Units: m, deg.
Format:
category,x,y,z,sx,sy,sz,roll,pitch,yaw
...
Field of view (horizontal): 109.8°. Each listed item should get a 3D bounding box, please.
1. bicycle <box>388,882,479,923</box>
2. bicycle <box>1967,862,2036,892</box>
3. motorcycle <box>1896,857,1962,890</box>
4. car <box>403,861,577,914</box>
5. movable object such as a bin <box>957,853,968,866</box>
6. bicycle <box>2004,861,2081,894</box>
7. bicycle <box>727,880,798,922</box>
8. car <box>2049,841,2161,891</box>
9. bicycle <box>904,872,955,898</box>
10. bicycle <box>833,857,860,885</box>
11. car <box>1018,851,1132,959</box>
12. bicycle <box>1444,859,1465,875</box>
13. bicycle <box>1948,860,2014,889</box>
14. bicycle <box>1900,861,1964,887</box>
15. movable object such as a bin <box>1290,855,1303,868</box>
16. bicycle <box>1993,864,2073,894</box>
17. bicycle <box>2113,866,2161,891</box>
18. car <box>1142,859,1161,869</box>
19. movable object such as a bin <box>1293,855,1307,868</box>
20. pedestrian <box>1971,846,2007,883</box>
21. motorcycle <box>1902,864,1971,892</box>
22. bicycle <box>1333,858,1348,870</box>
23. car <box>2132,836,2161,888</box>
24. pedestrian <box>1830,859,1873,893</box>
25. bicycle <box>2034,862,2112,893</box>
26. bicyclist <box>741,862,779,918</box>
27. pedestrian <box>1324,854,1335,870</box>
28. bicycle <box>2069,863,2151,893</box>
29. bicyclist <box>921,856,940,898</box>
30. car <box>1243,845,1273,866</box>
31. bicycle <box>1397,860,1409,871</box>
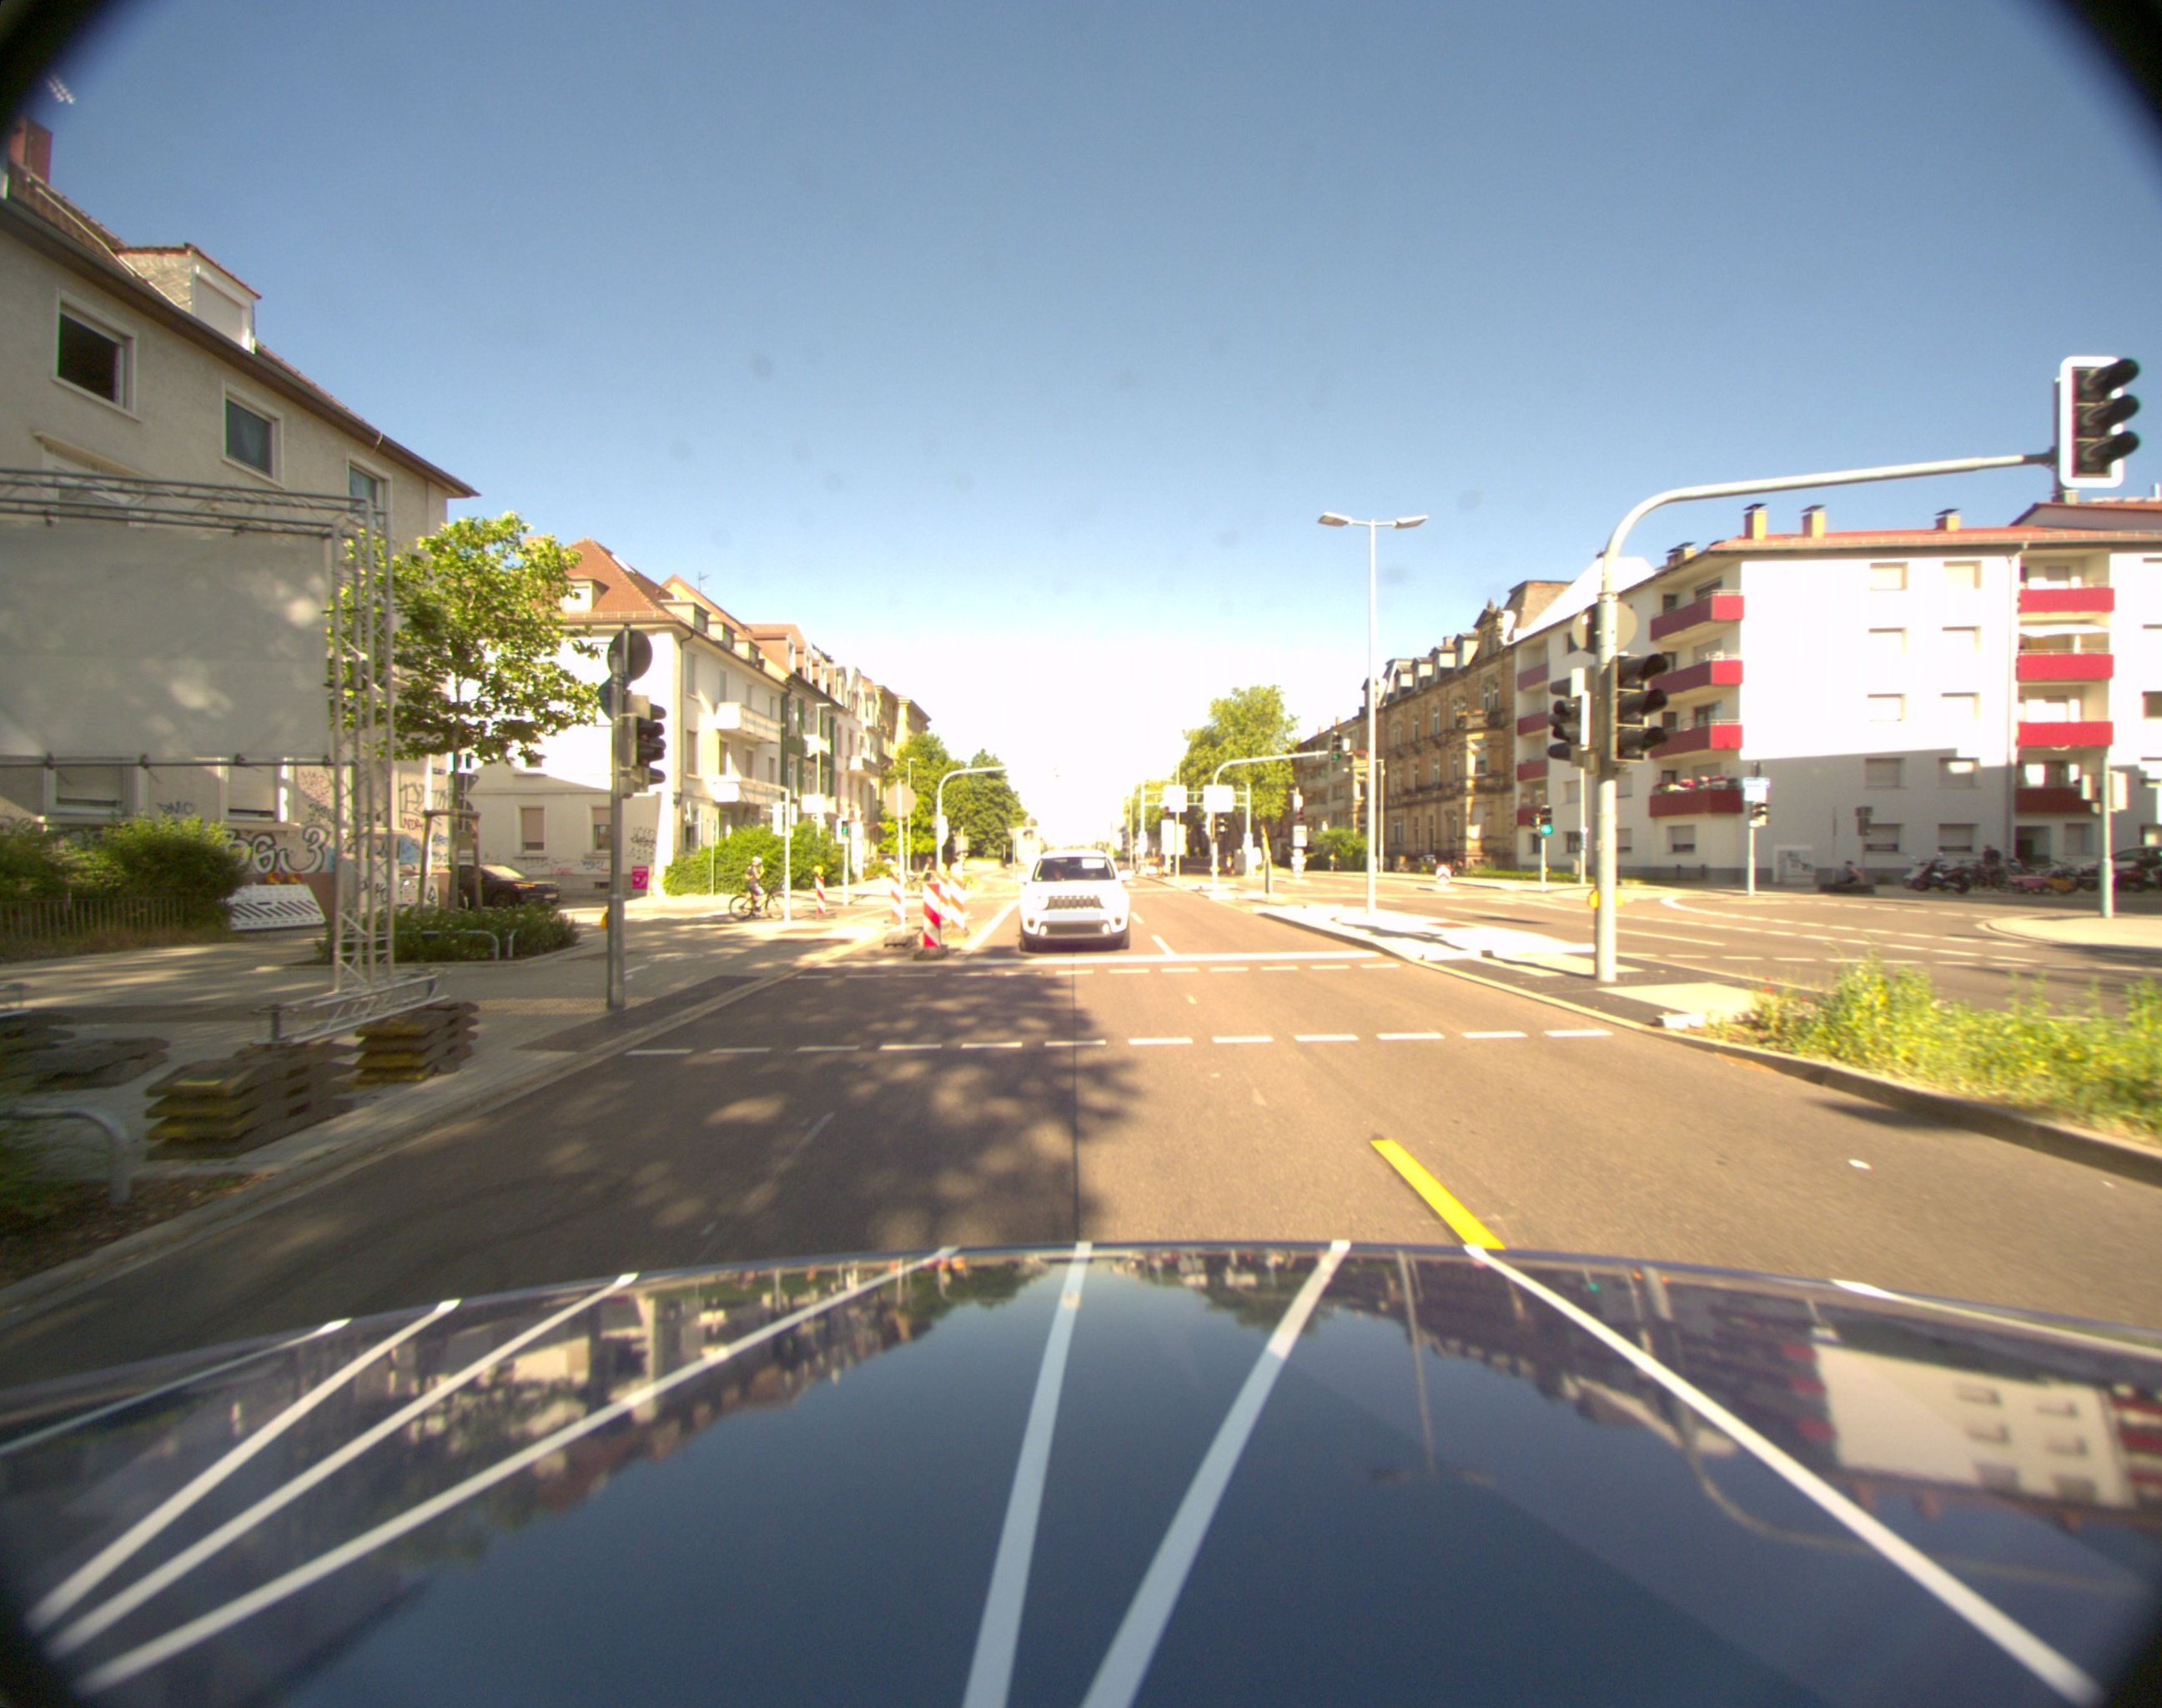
category,x,y,z,sx,sy,sz,roll,pitch,yaw
bicycle,-17.651,1.312,20.733,2.001,1.074,0.579,-1,1,1
bicycle,31.461,0.758,26.011,0.507,0.972,1.887,0,0,16
motorcycle,30.882,0.692,27.697,0.612,1.135,1.784,-1,0,8
car,-19.496,1.080,25.181,4.259,1.609,1.985,-1,1,4
movable object such as a bin,-13.617,0.639,87.416,0.975,1.389,1.285,2,-1,-24
bicycle,32.946,0.785,26.071,0.490,1.062,1.736,-1,0,2
bicycle,-8.786,1.280,20.981,1.690,1.091,0.689,2,-1,-32
car,38.484,0.413,27.259,1.998,1.721,4.481,-1,0,5
bicycle,-6.348,1.299,31.848,1.967,1.019,0.605,-2,0,-1
bicycle,-12.375,0.887,40.150,0.710,1.435,2.491,-2,0,-2
car,-0.074,0.823,13.568,1.744,1.647,3.691,-1,-1,1
bicycle,23.396,0.820,47.611,0.305,0.952,1.940,0,0,0
bicycle,34.162,0.777,28.860,0.575,1.052,1.691,-1,0,4
bicycle,32.283,0.748,28.844,0.575,0.963,1.737,-1,0,4
movable object such as a bin,22.202,0.780,78.319,0.895,1.354,1.314,2,-1,-2
bicycle,32.031,0.812,25.613,0.478,0.942,1.952,0,0,8
bicycle,35.913,0.818,25.350,0.415,0.810,1.720,-1,0,-24
car,9.606,1.406,103.273,1.936,1.337,4.315,0,-1,-4
movable object such as a bin,22.159,0.760,76.925,0.895,1.352,1.474,2,-1,0
pedestrian,36.816,0.420,30.813,0.601,1.488,0.694,0,1,2
motorcycle,29.807,0.817,26.520,0.504,0.931,1.843,-1,0,6
bicycle,22.934,0.884,67.195,0.468,0.999,2.250,-2,0,-3
car,40.768,0.296,26.993,1.700,1.944,3.793,-1,0,2
pedestrian,26.879,0.761,26.527,0.720,1.146,0.788,-1,1,-13
bicycle,34.021,0.781,26.090,0.509,0.997,1.737,-1,0,4
bicyclist,-8.867,0.975,20.988,0.872,1.491,0.724,-1,0,-31
pedestrian,22.136,0.733,67.609,0.568,1.369,1.090,-1,0,-3
bicycle,34.859,0.791,25.773,0.459,0.942,1.723,0,0,1
bicyclist,-6.296,0.950,31.792,0.605,1.698,0.858,0,0,-1
car,20.908,0.211,90.158,2.250,2.431,5.288,2,-1,0
bicycle,23.307,0.835,55.013,0.299,0.766,1.414,0,0,0
